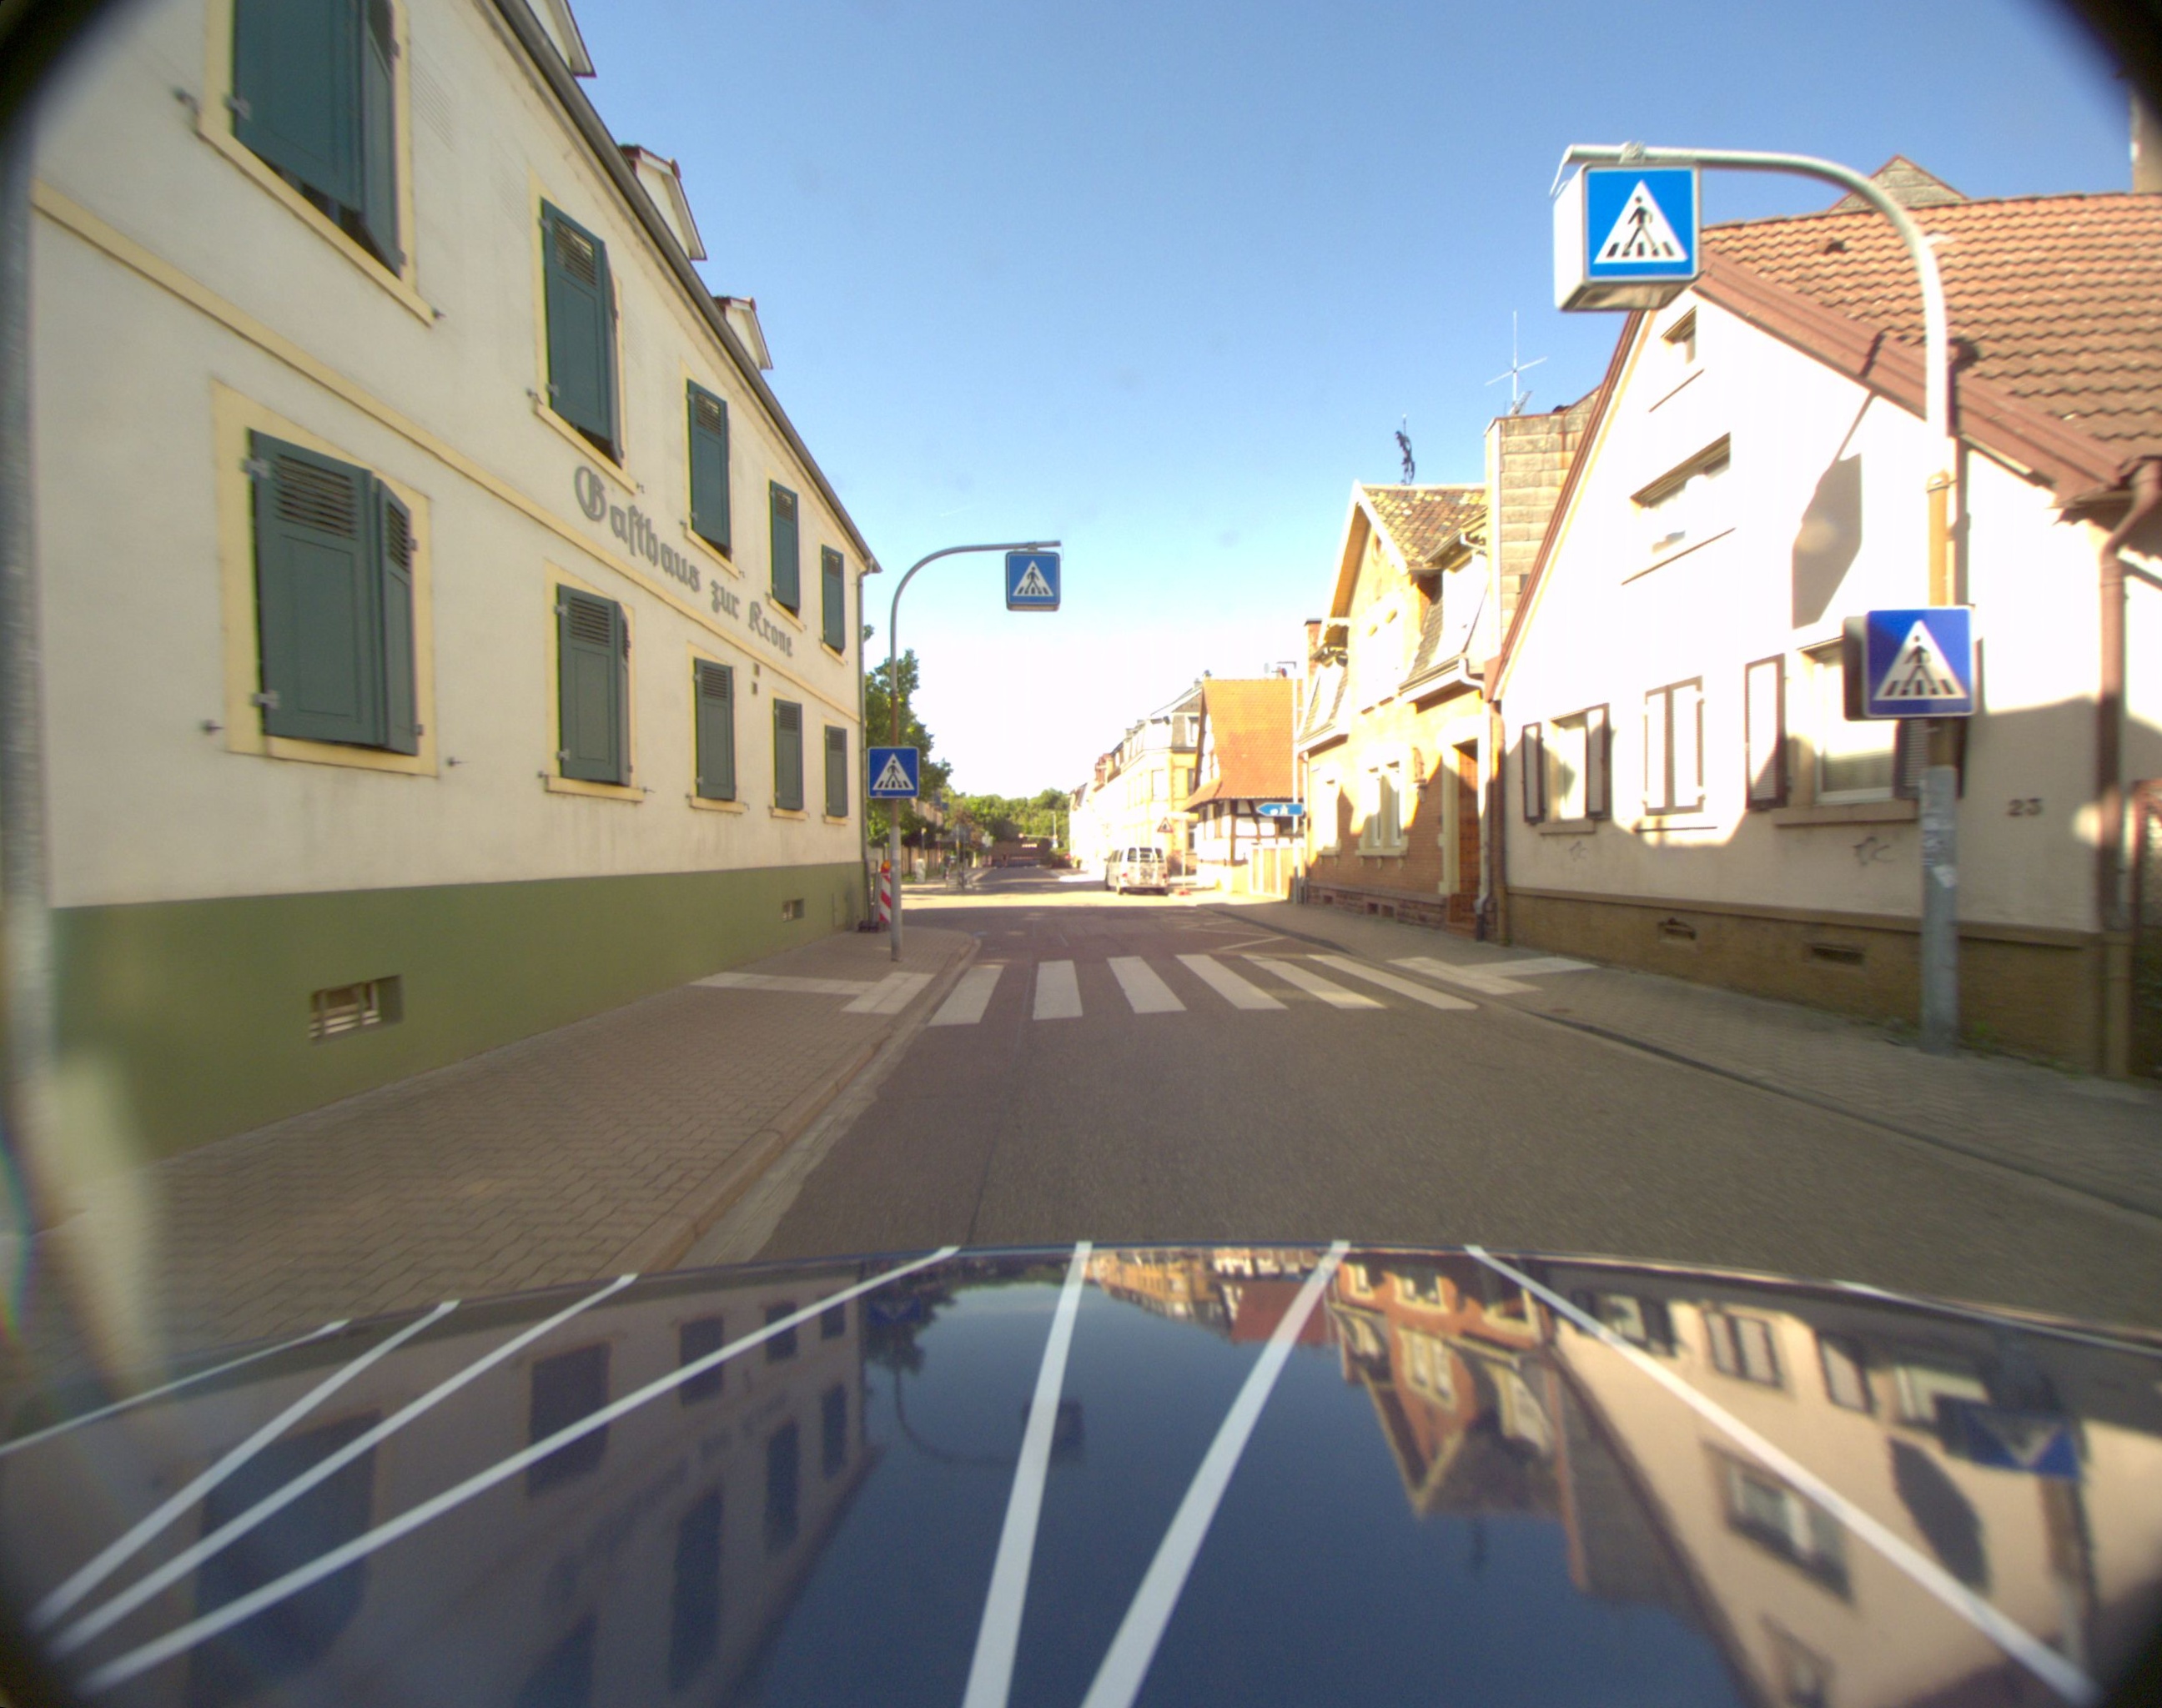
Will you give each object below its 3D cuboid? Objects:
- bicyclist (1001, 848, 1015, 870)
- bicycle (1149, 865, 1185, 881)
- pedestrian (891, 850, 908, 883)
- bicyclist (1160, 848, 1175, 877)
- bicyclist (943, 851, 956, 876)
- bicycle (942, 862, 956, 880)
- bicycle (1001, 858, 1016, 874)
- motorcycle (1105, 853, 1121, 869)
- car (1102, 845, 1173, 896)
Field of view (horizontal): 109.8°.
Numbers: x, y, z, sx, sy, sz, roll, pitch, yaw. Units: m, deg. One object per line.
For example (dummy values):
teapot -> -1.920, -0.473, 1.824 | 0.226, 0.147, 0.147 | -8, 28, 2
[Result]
bicyclist -> -7.892, 0.579, 82.068 | 1.257, 2.295, 1.242 | -3, 1, -3
bicycle -> 4.713, 1.050, 41.688 | 1.911, 0.774, 0.624 | -3, 1, -1
pedestrian -> -9.814, 0.670, 41.066 | 0.660, 1.707, 0.827 | -1, 1, 2
bicyclist -> 4.736, 0.444, 41.671 | 0.654, 1.524, 0.610 | -3, 1, -1
bicyclist -> -8.248, 0.573, 47.764 | 0.669, 1.530, 0.914 | 3, 1, -4
bicycle -> -8.283, 1.043, 47.736 | 0.669, 1.058, 1.816 | 3, 1, -4
bicycle -> -7.837, 1.252, 82.007 | 1.257, 1.543, 3.998 | -3, 1, -2
motorcycle -> 2.636, 0.568, 62.571 | 0.848, 1.245, 2.255 | -3, 1, -8
car -> 2.169, 0.577, 30.384 | 1.881, 1.870, 4.831 | 0, 1, -7
